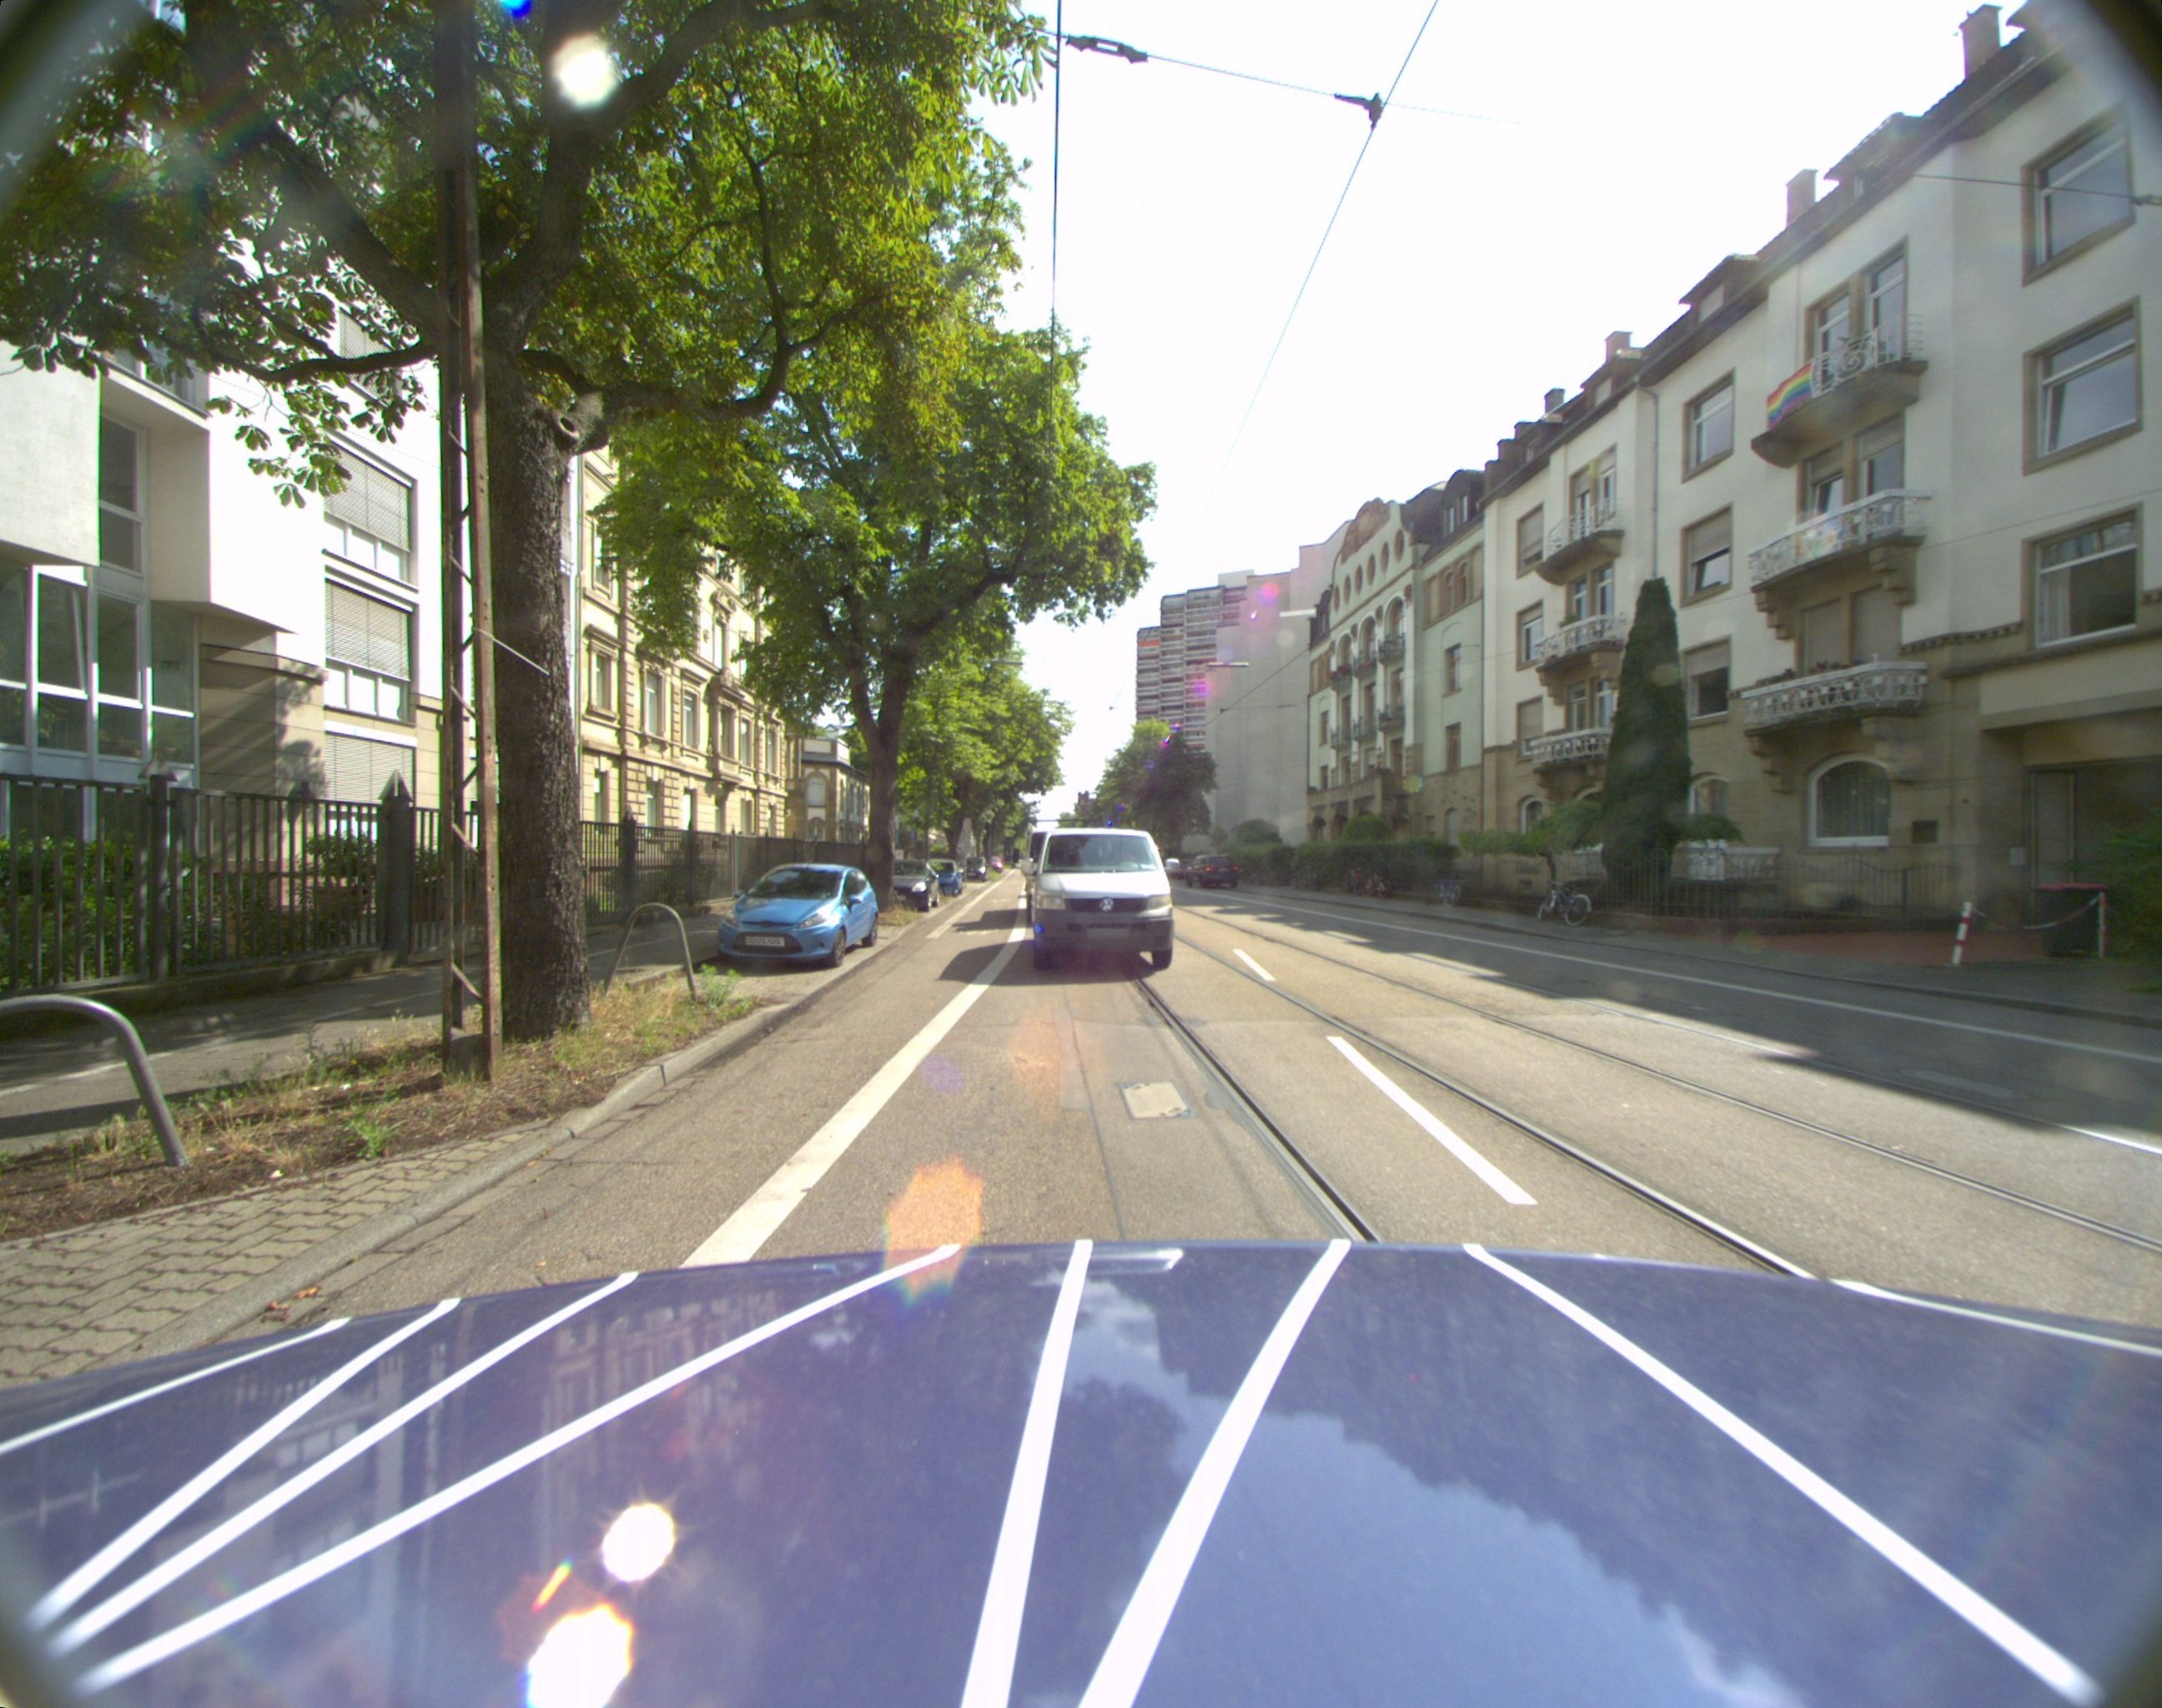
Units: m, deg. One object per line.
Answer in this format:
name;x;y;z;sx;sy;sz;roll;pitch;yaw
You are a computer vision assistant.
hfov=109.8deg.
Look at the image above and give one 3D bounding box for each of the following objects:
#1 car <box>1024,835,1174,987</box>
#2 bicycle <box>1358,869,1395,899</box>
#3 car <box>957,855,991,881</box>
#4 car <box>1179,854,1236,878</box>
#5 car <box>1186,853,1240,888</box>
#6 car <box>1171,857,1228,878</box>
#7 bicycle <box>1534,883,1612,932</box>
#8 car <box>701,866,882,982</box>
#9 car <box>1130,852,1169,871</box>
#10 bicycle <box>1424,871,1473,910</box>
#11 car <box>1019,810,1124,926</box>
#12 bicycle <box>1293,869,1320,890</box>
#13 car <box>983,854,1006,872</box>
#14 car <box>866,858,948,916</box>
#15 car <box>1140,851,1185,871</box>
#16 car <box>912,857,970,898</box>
car;0.253;0.691;11.784;1.831;1.856;4.845;-1;0;1
bicycle;10.454;1.039;26.912;0.587;0.980;1.872;0;1;1
car;-6.891;0.865;49.296;1.774;1.522;4.198;2;0;-3
car;8.772;0.806;52.775;3.631;1.630;1.610;0;1;-3
car;6.826;0.806;39.760;1.797;1.701;4.330;0;0;-4
car;8.637;0.965;55.702;3.890;1.527;1.634;0;0;-2
bicycle;11.031;1.169;17.132;0.524;0.901;2.067;0;2;4
car;-4.359;0.974;12.041;1.642;1.447;3.697;2;0;-4
car;6.754;0.719;75.168;3.663;1.832;1.735;0;0;-3
bicycle;10.822;1.055;22.427;0.539;1.024;1.872;0;1;1
car;-0.425;0.302;19.837;2.169;2.572;5.660;0;0;-7
bicycle;9.821;1.118;33.143;0.587;0.792;1.872;-2;1;1
car;-8.171;0.863;72.126;1.774;1.563;4.198;2;0;-3
car;-5.013;0.897;22.324;1.644;1.499;3.621;2;0;-2
car;7.686;0.653;71.923;3.997;1.914;1.830;0;0;-1
car;-5.548;0.898;30.434;1.724;1.443;3.924;2;0;-3
